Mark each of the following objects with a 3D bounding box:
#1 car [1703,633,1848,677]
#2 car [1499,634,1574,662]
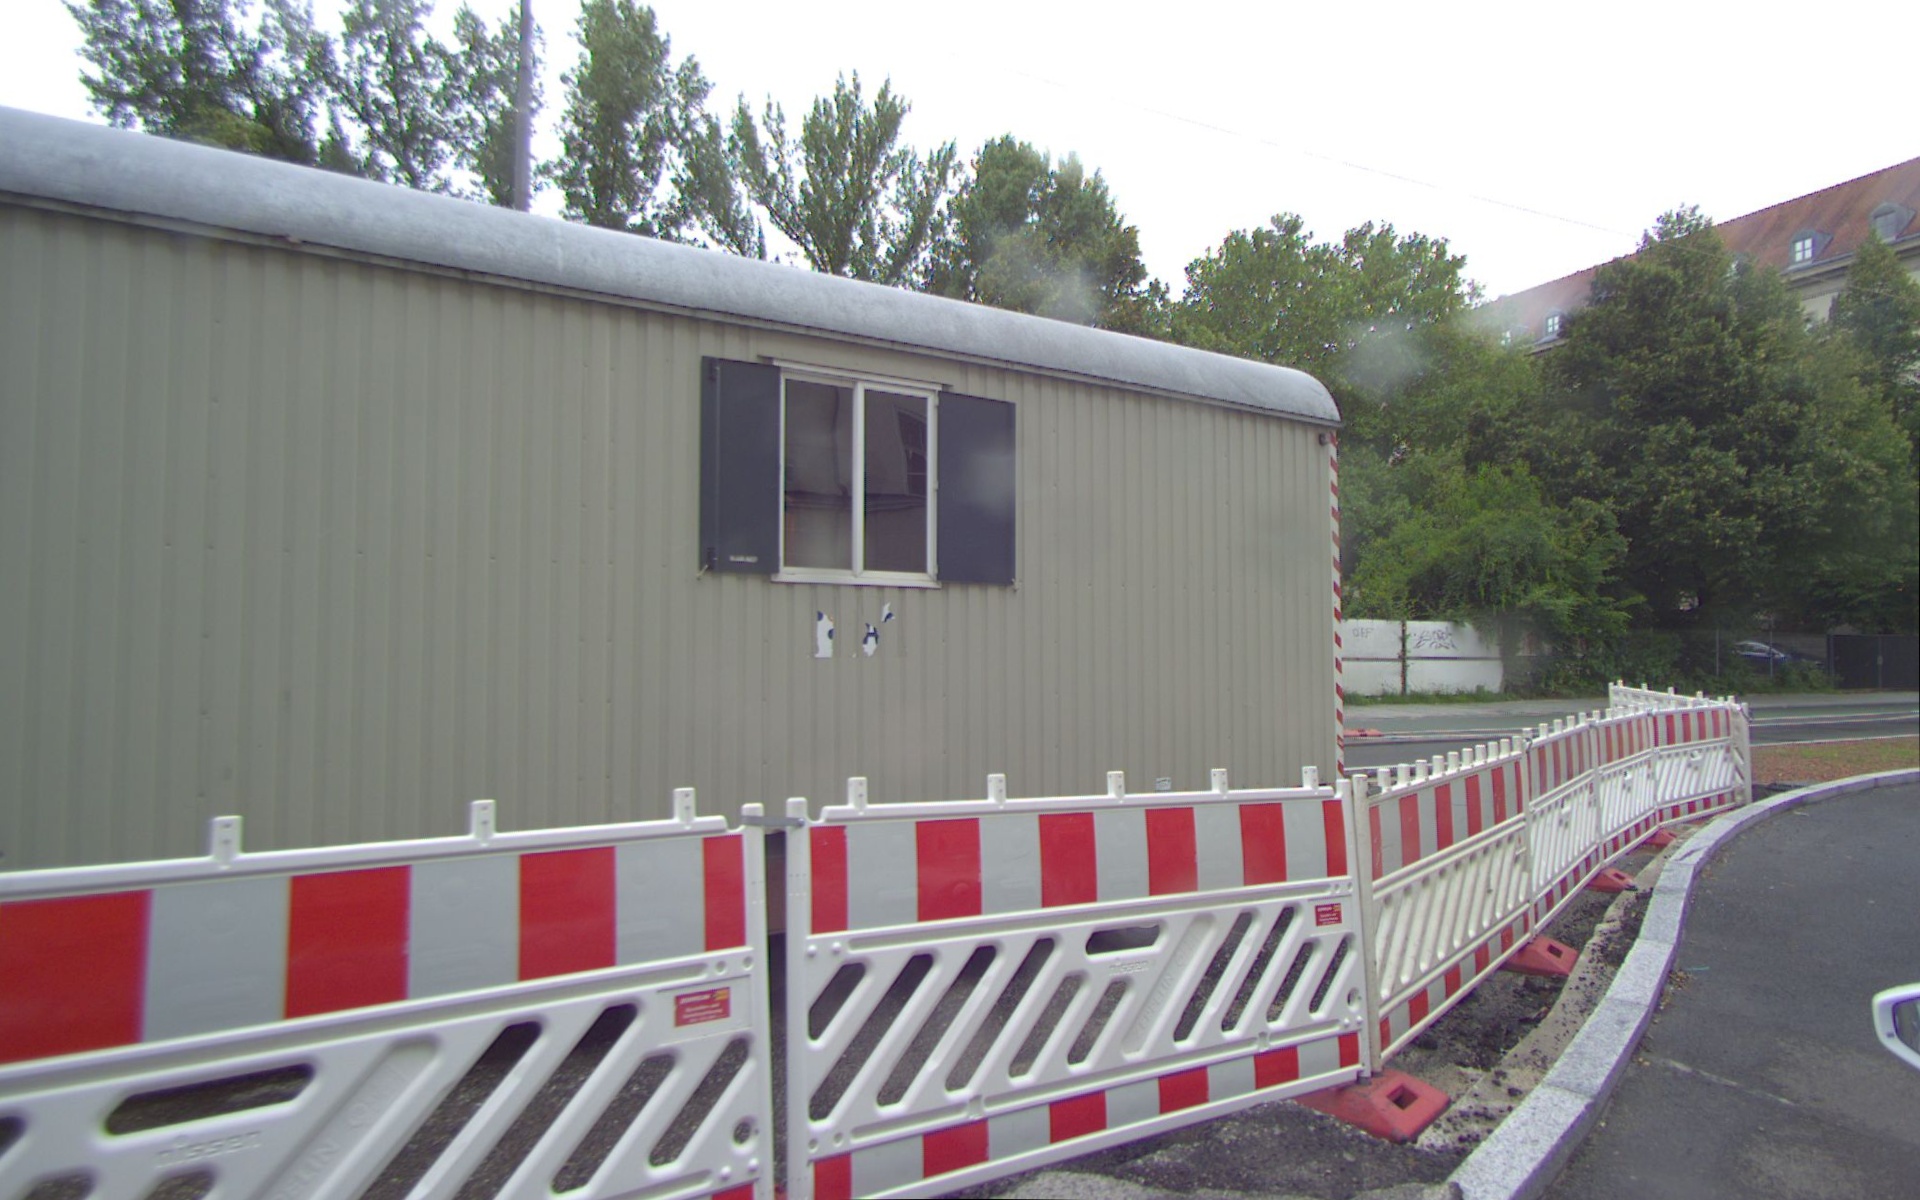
[{"bbox_3d":[33.026,2.204,40.810,1.779,1.670,4.252,1,-2,-24],"label":"car"},{"bbox_3d":[32.883,2.741,57.301,3.946,1.564,1.765,1,-2,-25],"label":"car"}]
